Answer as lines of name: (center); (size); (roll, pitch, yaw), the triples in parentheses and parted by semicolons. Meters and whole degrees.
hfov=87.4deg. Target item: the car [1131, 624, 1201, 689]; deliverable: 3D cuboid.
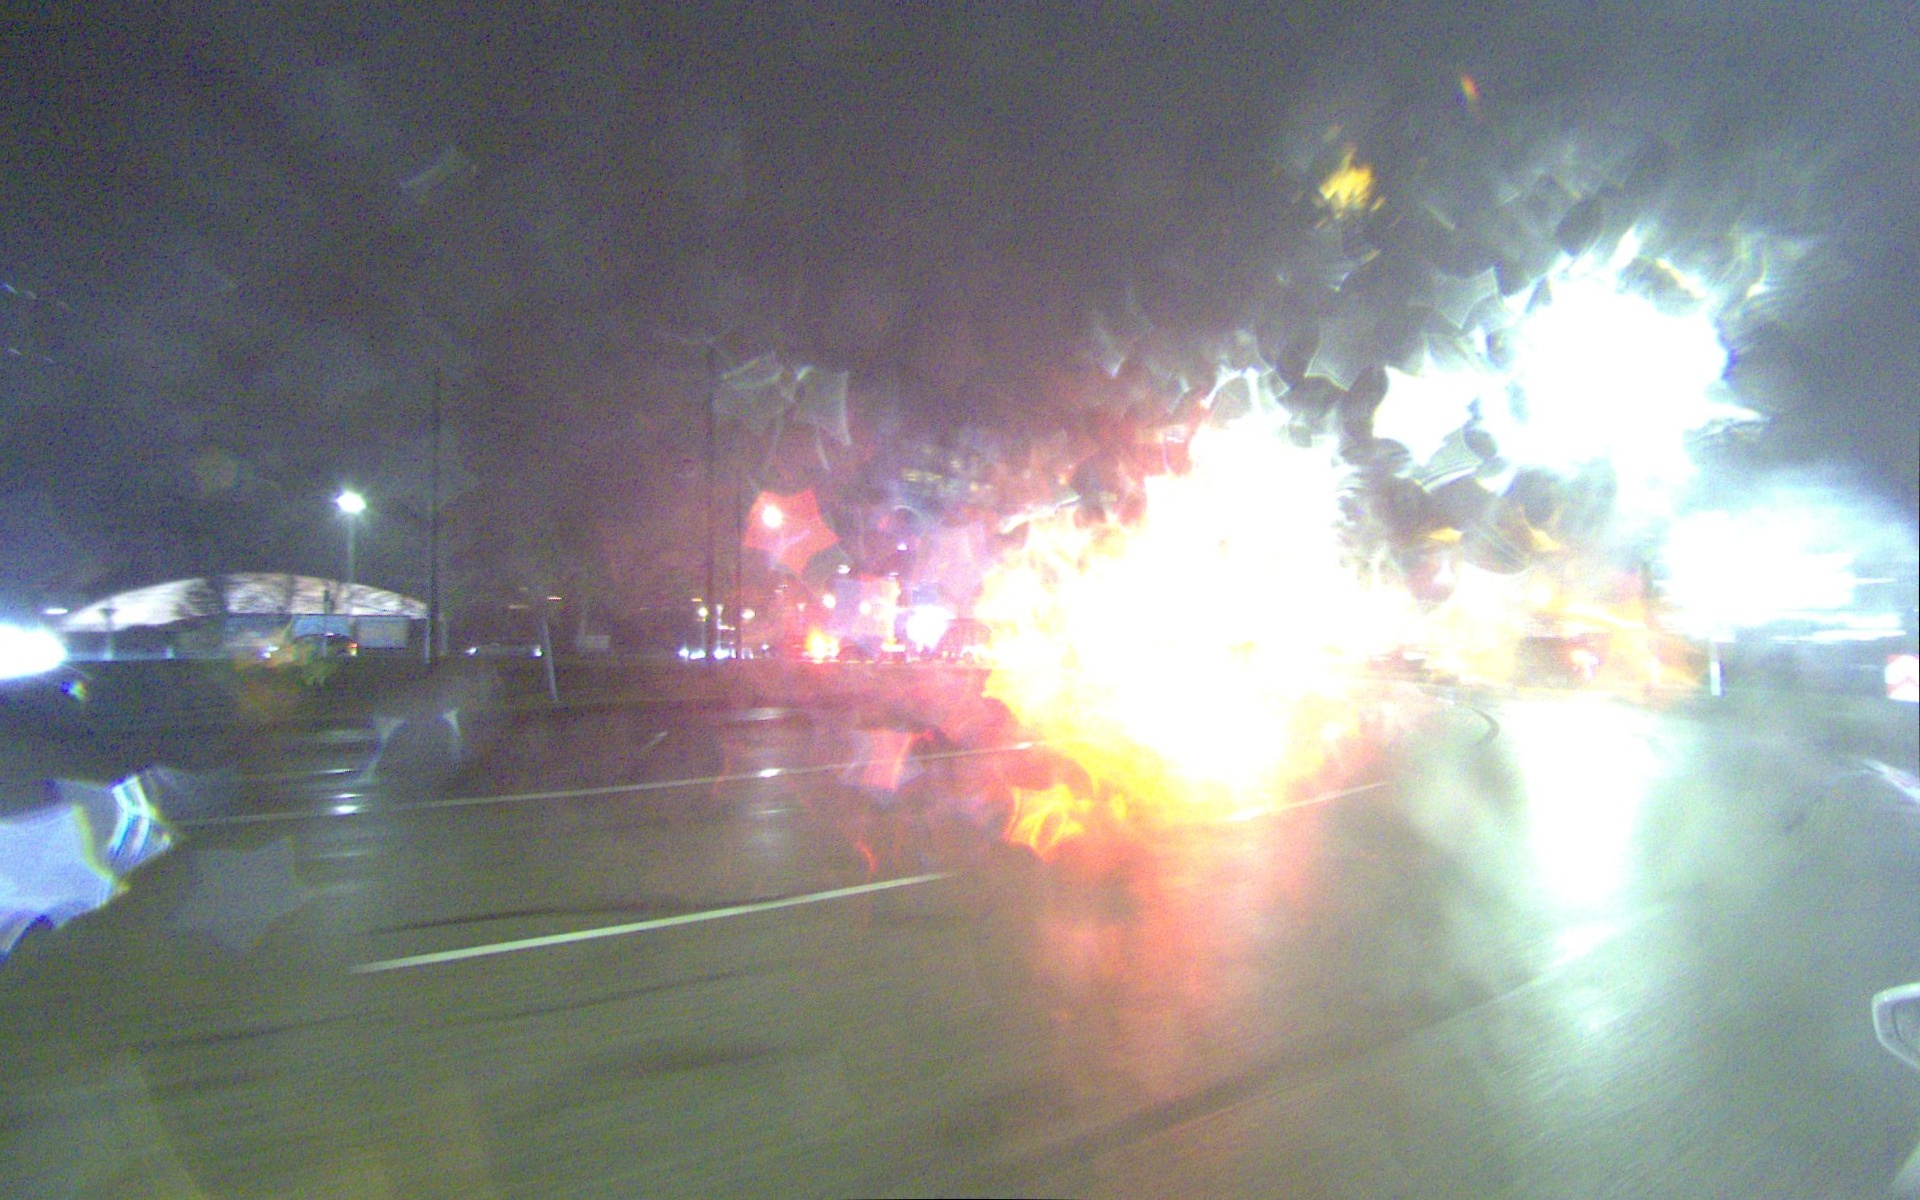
car: (5.665, 1.460, 27.351); (1.702, 1.599, 3.967); (0, -1, 14)

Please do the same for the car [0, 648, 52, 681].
car: (-50.077, 3.389, 53.314); (3.930, 1.595, 1.756); (-1, -1, 31)

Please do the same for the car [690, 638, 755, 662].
car: (-15.137, 3.158, 63.928); (3.951, 1.463, 1.827); (0, -1, -15)

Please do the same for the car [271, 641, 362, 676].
car: (-33.656, 3.030, 52.563); (3.840, 1.639, 1.753); (1, -1, -39)

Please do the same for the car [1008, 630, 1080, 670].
car: (3.717, 2.218, 45.160); (1.808, 1.637, 3.983); (0, -1, -19)

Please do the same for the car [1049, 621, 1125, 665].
car: (4.967, 1.656, 39.866); (1.707, 1.599, 3.954); (0, -1, -13)

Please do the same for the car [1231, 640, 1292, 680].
car: (13.486, 2.649, 45.074); (1.564, 1.605, 4.001); (0, -1, 1)

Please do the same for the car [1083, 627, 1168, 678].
car: (5.663, 1.777, 34.862); (1.842, 1.599, 3.960); (0, -1, -8)

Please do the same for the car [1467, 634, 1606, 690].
car: (18.763, 1.981, 32.792); (3.823, 1.662, 1.860); (-1, -1, 31)

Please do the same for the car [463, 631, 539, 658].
car: (-26.537, 2.569, 58.185); (3.961, 1.463, 1.823); (0, -1, -23)

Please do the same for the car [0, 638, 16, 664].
car: (-59.150, 3.104, 61.180); (3.934, 1.550, 1.674); (-1, -1, 35)

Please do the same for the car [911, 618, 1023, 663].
car: (0.268, 1.969, 51.035); (2.492, 2.117, 6.248); (0, -1, -37)
